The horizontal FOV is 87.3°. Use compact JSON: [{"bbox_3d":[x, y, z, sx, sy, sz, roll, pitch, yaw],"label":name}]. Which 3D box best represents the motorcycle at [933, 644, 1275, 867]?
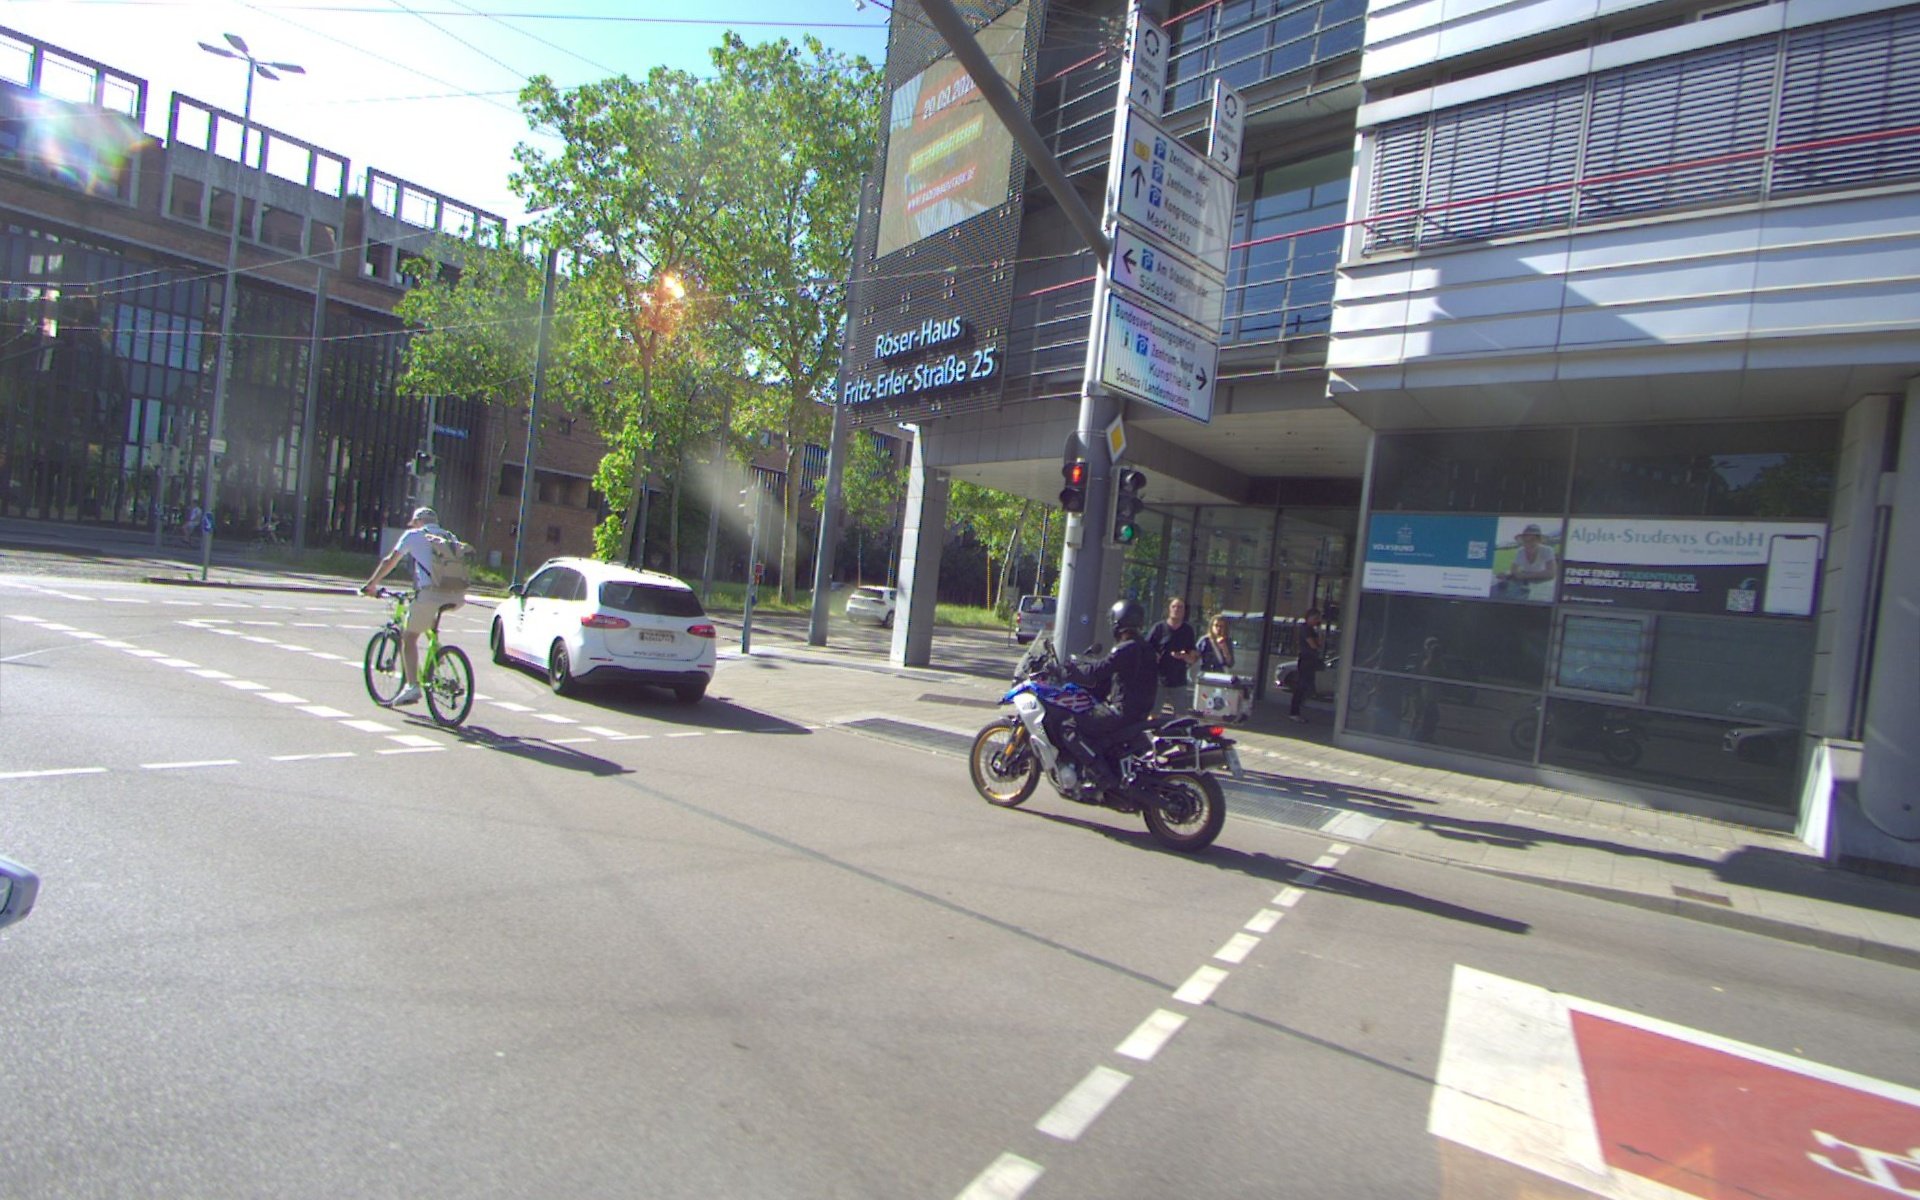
[{"bbox_3d":[1.034,1.091,7.649,2.353,1.215,0.829,6,0,36],"label":"motorcycle"}]

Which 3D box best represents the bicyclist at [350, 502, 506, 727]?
[{"bbox_3d":[-4.605,0.110,8.696,1.028,1.775,0.649,8,2,34],"label":"bicyclist"}]

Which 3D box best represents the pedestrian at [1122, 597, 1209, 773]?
[{"bbox_3d":[2.245,0.913,11.075,0.628,1.822,0.607,6,3,0],"label":"pedestrian"}]

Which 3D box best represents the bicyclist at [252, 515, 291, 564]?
[{"bbox_3d":[-24.944,-2.198,36.460,0.660,1.651,0.864,6,1,25],"label":"bicyclist"}]

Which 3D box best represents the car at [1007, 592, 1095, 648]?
[{"bbox_3d":[3.606,0.813,38.993,1.789,1.875,4.384,6,0,26],"label":"car"}]

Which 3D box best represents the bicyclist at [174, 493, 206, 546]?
[{"bbox_3d":[-29.674,-3.102,38.765,0.638,1.908,0.607,6,2,15],"label":"bicyclist"}]

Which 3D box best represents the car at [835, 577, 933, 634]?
[{"bbox_3d":[-2.794,0.251,37.984,1.877,1.602,4.000,9,-1,23],"label":"car"}]

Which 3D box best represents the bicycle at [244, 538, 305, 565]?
[{"bbox_3d":[-24.931,-1.758,36.622,0.661,0.816,1.672,6,1,25],"label":"bicycle"}]

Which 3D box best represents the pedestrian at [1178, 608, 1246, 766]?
[{"bbox_3d":[2.809,0.953,11.257,0.421,1.668,0.561,6,3,0],"label":"pedestrian"}]

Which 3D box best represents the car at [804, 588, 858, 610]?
[{"bbox_3d":[-9.325,-0.056,73.077,1.709,1.282,3.990,6,0,32],"label":"car"}]

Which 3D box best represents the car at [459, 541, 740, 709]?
[{"bbox_3d":[-4.770,0.249,12.954,1.900,1.602,4.089,8,-1,-41],"label":"car"}]

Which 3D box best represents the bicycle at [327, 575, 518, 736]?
[{"bbox_3d":[-4.700,0.449,8.754,1.729,1.124,0.649,8,2,34],"label":"bicycle"}]

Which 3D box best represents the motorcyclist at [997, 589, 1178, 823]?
[{"bbox_3d":[0.979,0.780,7.683,0.927,1.580,0.829,6,0,36],"label":"motorcyclist"}]

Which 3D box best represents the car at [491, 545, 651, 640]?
[{"bbox_3d":[-7.996,-0.118,21.119,1.879,1.560,4.136,8,-1,-5],"label":"car"}]

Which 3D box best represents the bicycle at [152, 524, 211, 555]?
[{"bbox_3d":[-29.827,-2.305,38.578,0.660,1.007,1.674,6,1,16],"label":"bicycle"}]

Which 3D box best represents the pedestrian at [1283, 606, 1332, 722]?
[{"bbox_3d":[5.632,1.032,16.315,0.533,1.807,0.476,7,2,23],"label":"pedestrian"}]
